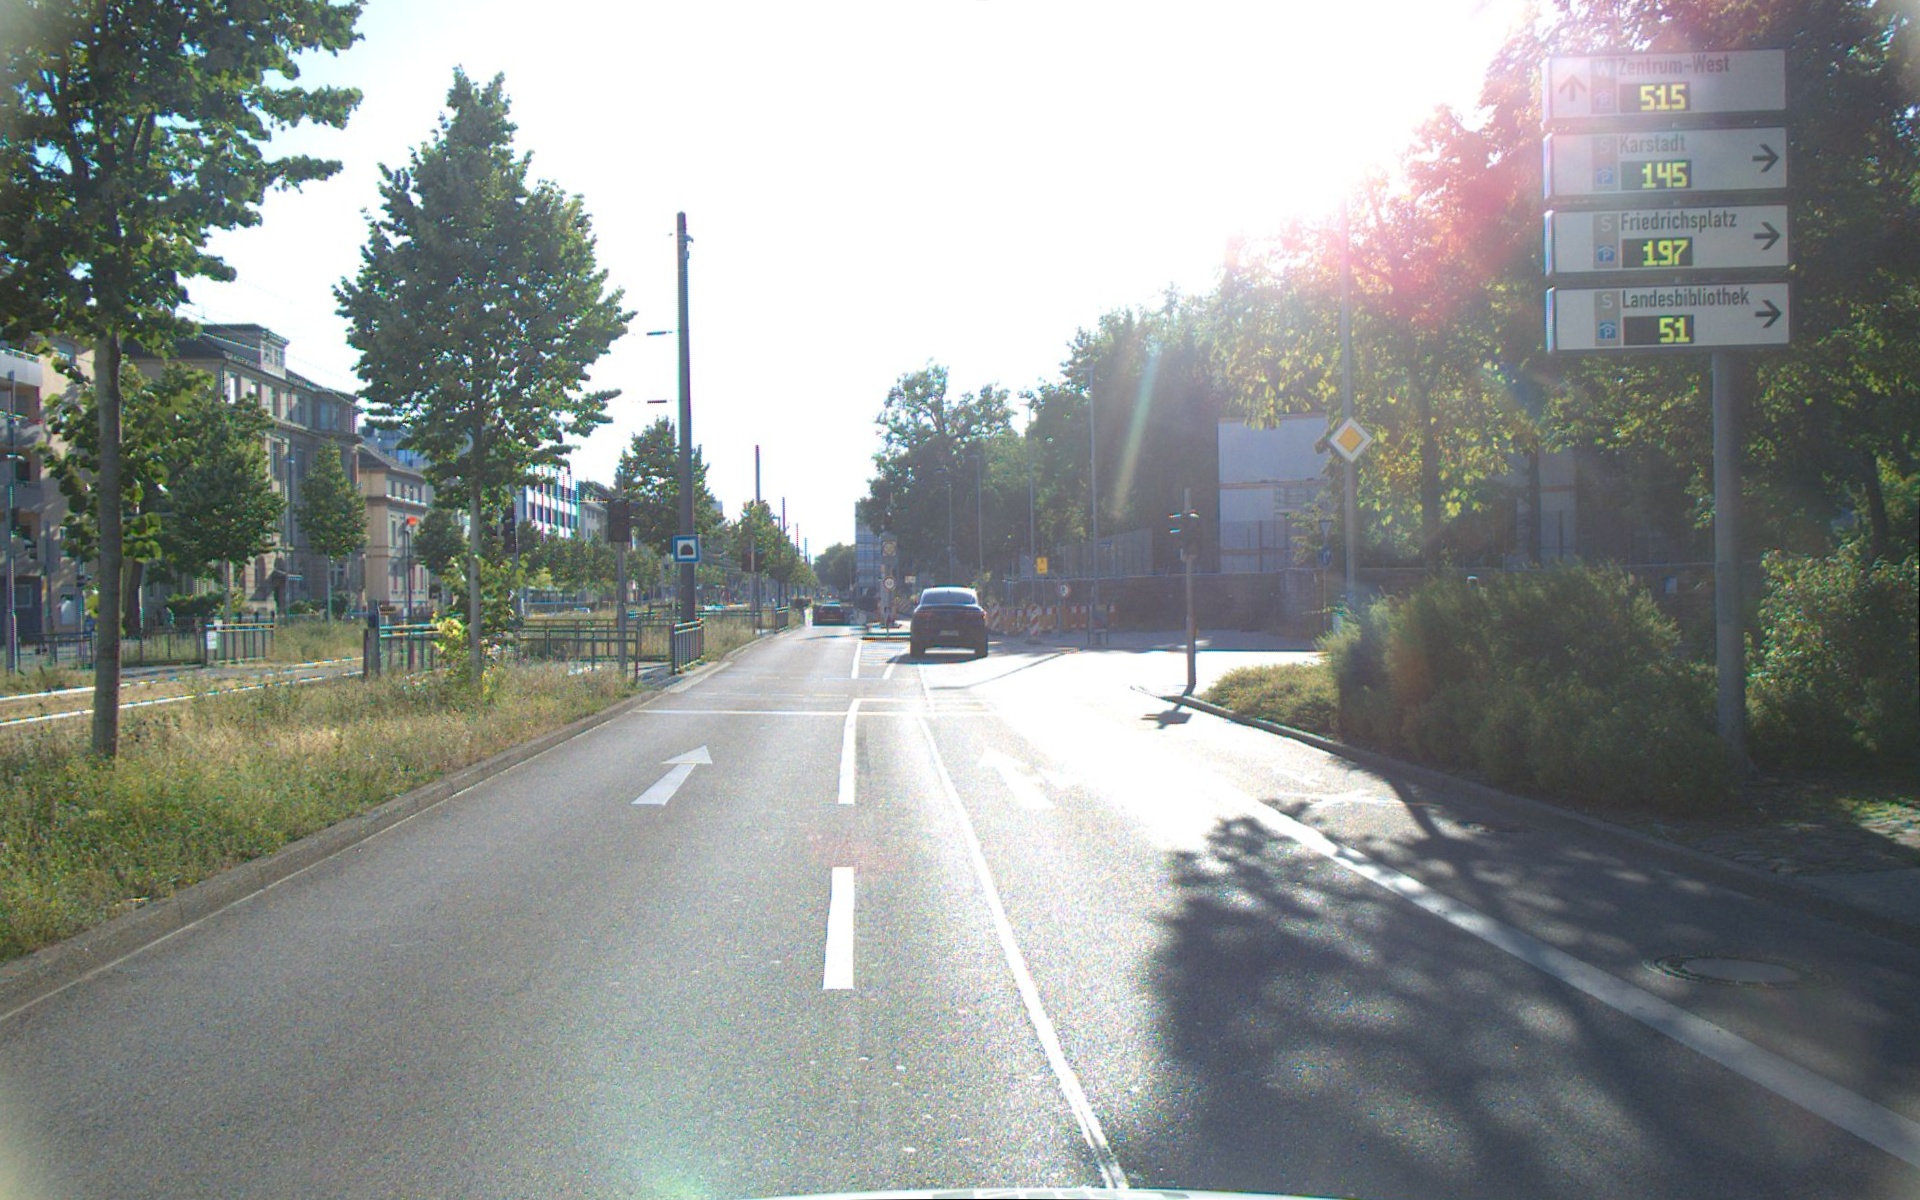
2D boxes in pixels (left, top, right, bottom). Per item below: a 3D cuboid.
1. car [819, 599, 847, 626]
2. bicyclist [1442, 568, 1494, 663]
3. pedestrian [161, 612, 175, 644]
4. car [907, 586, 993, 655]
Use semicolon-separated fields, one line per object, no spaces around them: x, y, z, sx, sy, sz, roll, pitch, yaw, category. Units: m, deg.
-8.492;0.839;110.685;1.791;1.688;3.997;1;-1;-4;car
9.008;0.275;29.372;0.572;1.643;0.902;-1;0;-4;bicyclist
-39.338;1.381;82.137;0.509;1.583;0.448;-1;0;-7;pedestrian
-0.303;0.518;42.824;1.966;1.688;3.997;1;-1;-4;car
